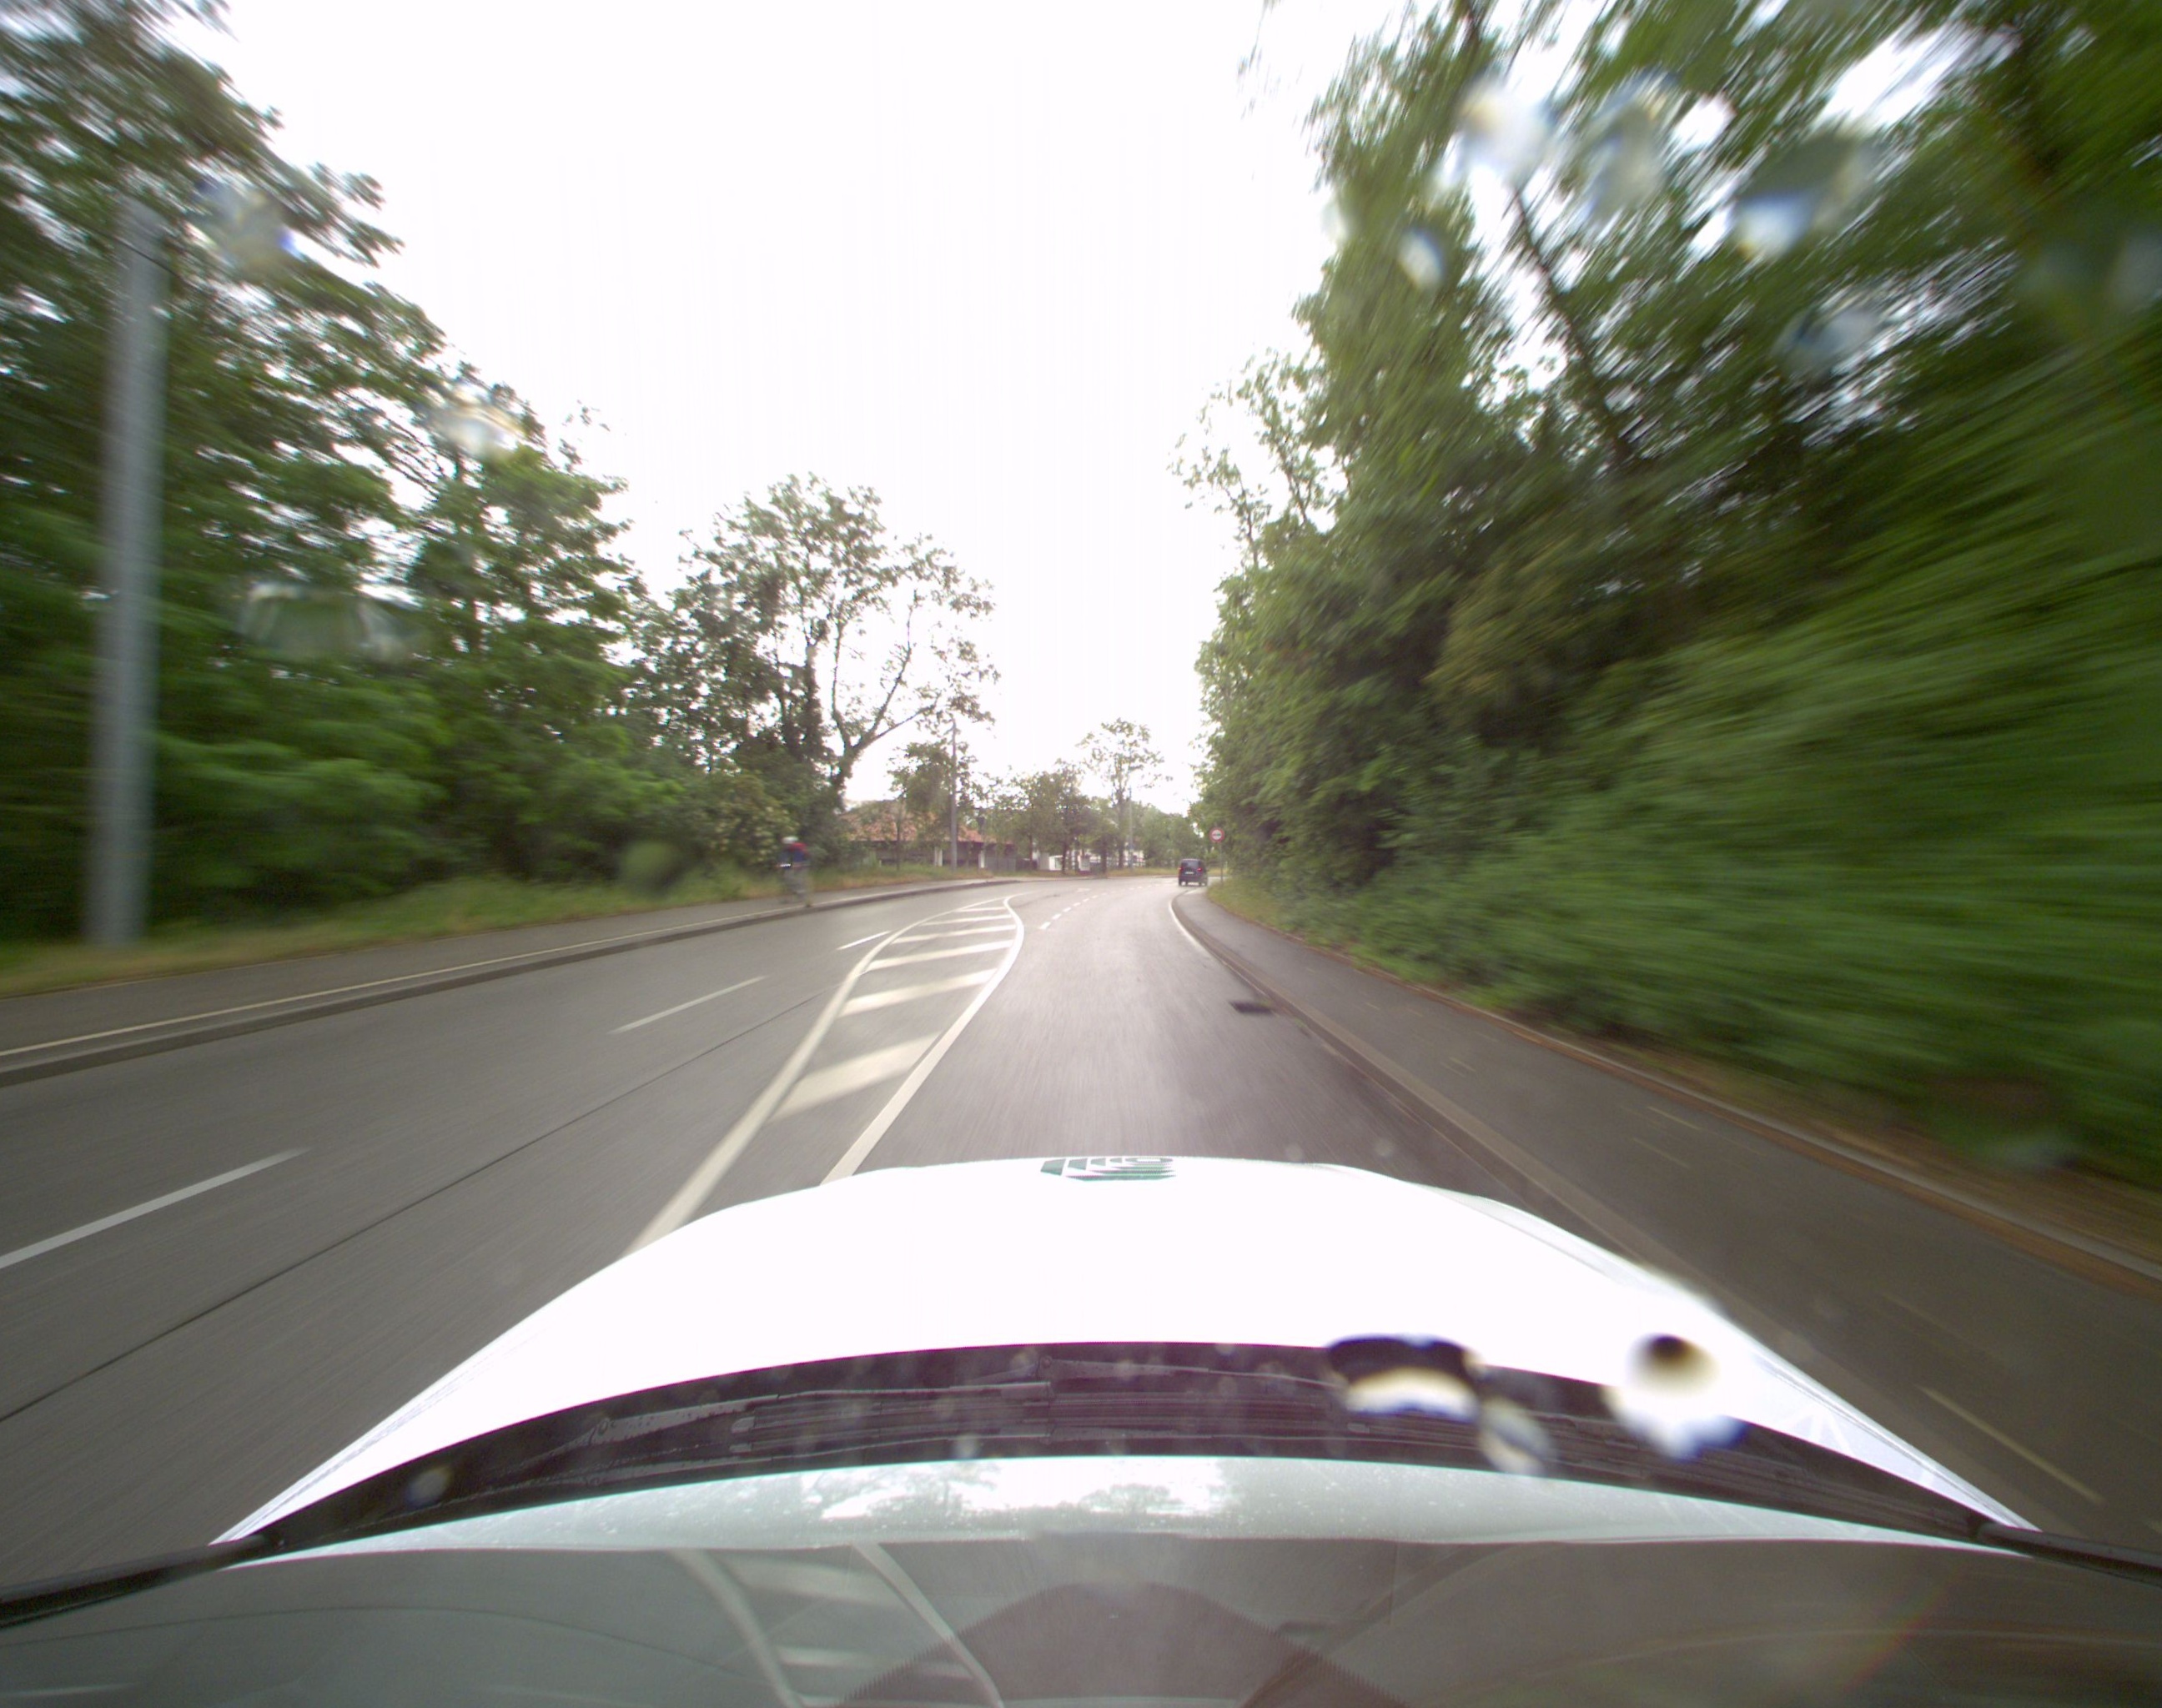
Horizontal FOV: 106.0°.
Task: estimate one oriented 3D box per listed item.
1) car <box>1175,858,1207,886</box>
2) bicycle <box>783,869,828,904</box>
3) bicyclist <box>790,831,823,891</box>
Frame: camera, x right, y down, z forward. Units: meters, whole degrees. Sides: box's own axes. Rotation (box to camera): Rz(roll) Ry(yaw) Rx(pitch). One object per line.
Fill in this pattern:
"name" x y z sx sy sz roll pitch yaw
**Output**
"car" 7.781 1.283 57.383 1.815 1.794 4.013 -4 -3 12
"bicycle" -7.477 0.874 22.207 0.354 0.849 2.096 0 0 5
"bicyclist" -7.478 0.182 22.223 0.334 1.574 1.300 -1 0 5
